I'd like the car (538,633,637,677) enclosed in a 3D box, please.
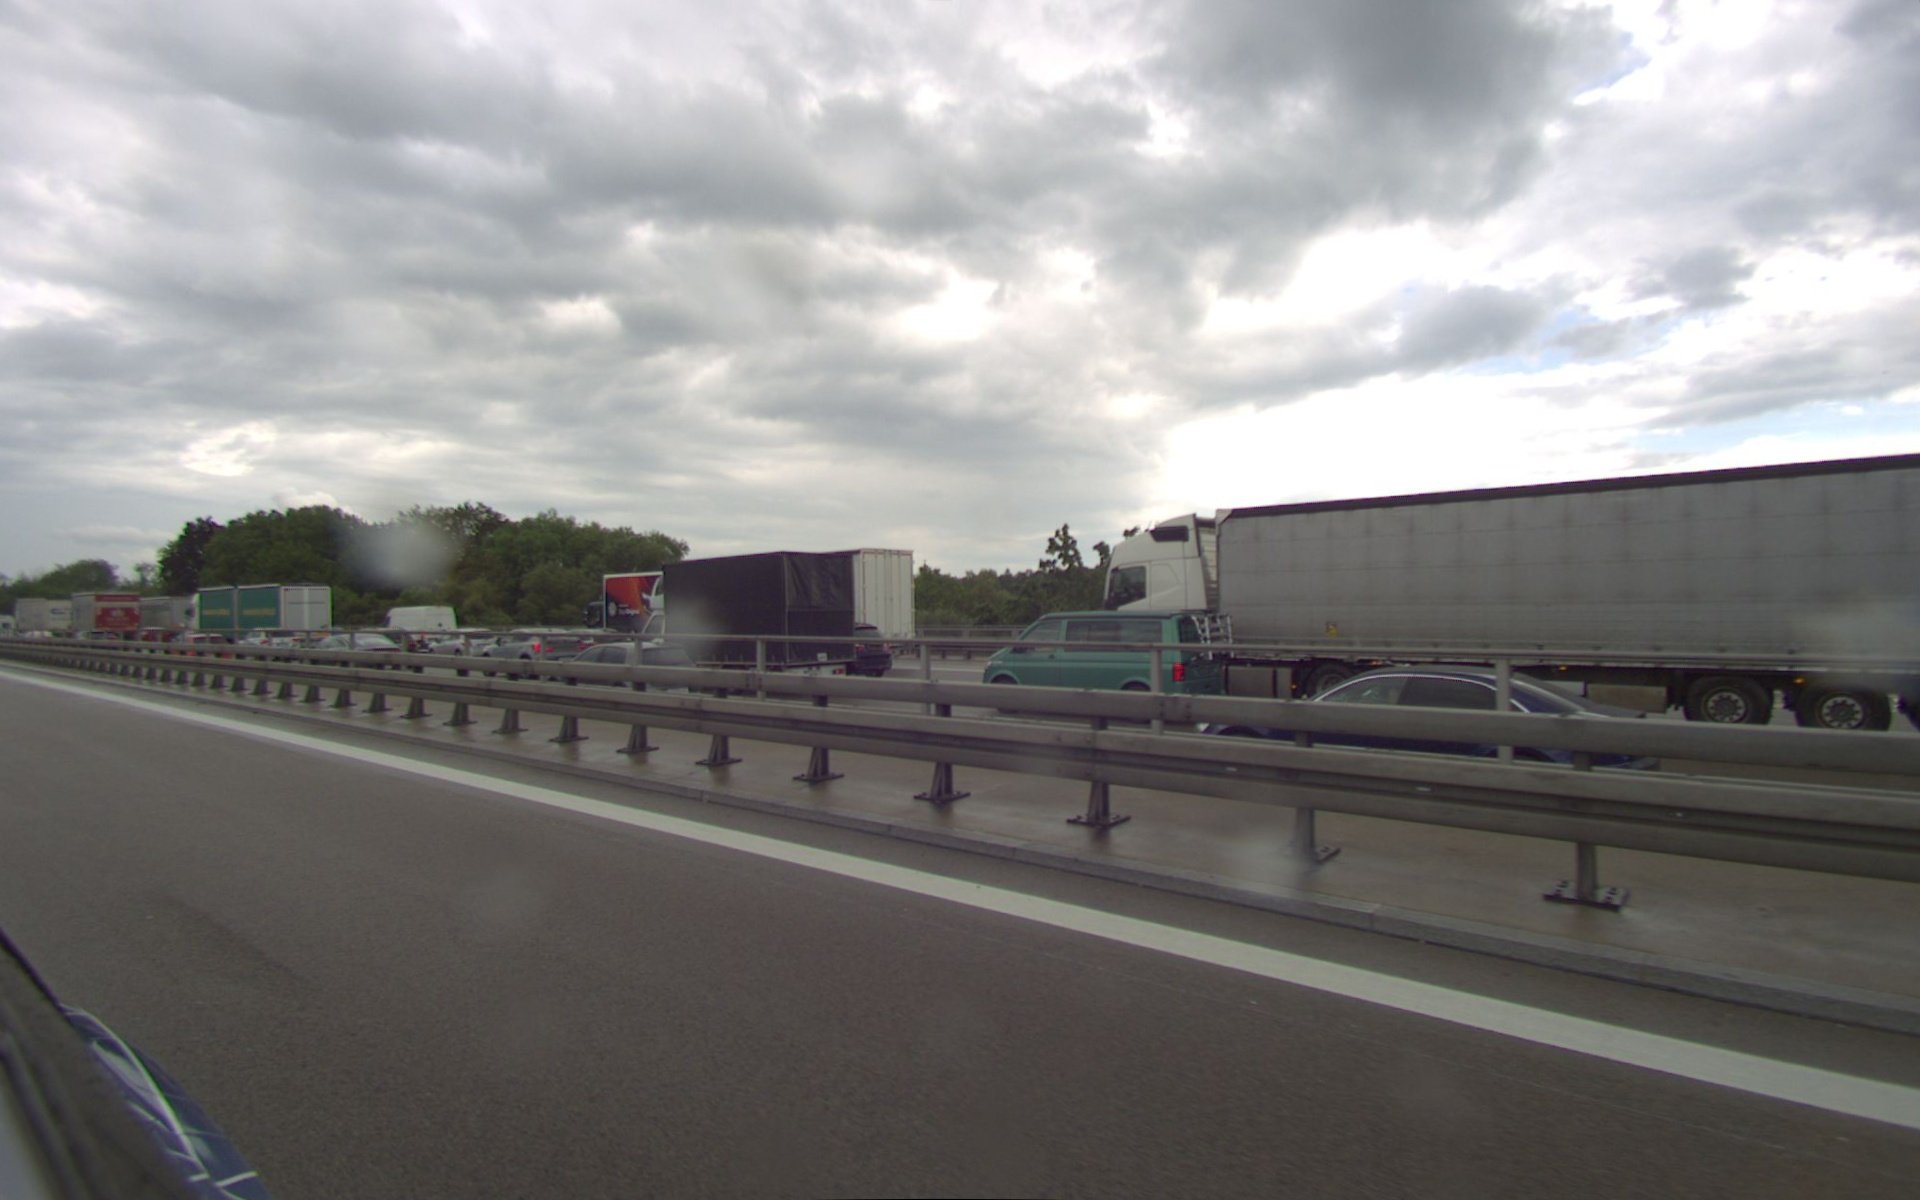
[{"bbox_3d":[-13.925,2.003,37.754,4.083,1.547,1.702,-2,-2,41],"label":"car"}]

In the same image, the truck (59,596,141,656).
[{"bbox_3d":[-64.429,1.994,75.664,12.517,4.180,2.952,-2,-2,42],"label":"truck"}]

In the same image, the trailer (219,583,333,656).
[{"bbox_3d":[-41.793,1.224,61.606,11.595,4.092,2.789,-2,-1,41],"label":"trailer"}]

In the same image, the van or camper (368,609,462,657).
[{"bbox_3d":[-31.208,1.853,57.835,7.357,2.598,2.221,-2,-2,40],"label":"van or camper"}]

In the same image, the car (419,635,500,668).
[{"bbox_3d":[-21.589,2.181,43.579,4.216,1.364,1.651,-2,-2,41],"label":"car"}]

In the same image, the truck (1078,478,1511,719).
[{"bbox_3d":[6.428,0.038,20.302,7.569,3.963,3.166,-2,-1,41],"label":"truck"}]

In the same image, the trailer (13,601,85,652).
[{"bbox_3d":[-80.572,2.357,89.344,13.016,4.177,2.852,-2,-2,40],"label":"trailer"}]

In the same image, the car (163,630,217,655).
[{"bbox_3d":[-46.201,2.540,60.683,3.998,1.463,1.813,-2,-2,41],"label":"car"}]

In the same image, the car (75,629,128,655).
[{"bbox_3d":[-50.749,2.454,59.819,3.998,1.463,1.813,-1,-2,41],"label":"car"}]

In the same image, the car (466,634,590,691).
[{"bbox_3d":[-14.225,1.984,33.190,5.052,1.713,1.702,-2,-2,41],"label":"car"}]

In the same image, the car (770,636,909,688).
[{"bbox_3d":[-3.513,1.740,29.171,4.083,1.364,1.702,-2,-2,41],"label":"car"}]

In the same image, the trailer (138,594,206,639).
[{"bbox_3d":[-73.713,1.622,94.514,12.300,4.024,2.729,-2,-2,41],"label":"trailer"}]

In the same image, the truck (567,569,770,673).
[{"bbox_3d":[-12.610,0.893,42.953,10.276,3.939,3.192,-2,-1,41],"label":"truck"}]

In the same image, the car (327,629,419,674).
[{"bbox_3d":[-23.833,2.046,41.011,5.101,1.741,1.702,-2,-2,41],"label":"car"}]

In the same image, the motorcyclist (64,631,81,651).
[{"bbox_3d":[-61.577,2.856,70.225,1.029,1.351,0.721,-2,-2,41],"label":"motorcyclist"}]

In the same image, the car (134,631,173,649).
[{"bbox_3d":[-63.738,3.168,79.999,4.191,1.354,1.582,-2,-2,40],"label":"car"}]

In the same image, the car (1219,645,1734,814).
[{"bbox_3d":[5.196,1.174,10.617,4.532,1.364,1.702,-2,-2,41],"label":"car"}]

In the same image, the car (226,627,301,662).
[{"bbox_3d":[-34.688,2.194,50.348,4.774,1.637,1.747,-1,-1,38],"label":"car"}]

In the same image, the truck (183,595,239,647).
[{"bbox_3d":[-61.733,1.733,83.429,5.105,4.100,2.675,-2,-2,41],"label":"truck"}]

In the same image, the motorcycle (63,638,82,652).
[{"bbox_3d":[-61.523,3.134,70.135,1.788,0.973,0.726,-2,-2,41],"label":"motorcycle"}]

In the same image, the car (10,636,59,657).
[{"bbox_3d":[-65.422,3.250,71.499,5.007,1.429,1.903,-2,-2,40],"label":"car"}]

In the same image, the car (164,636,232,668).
[{"bbox_3d":[-34.346,2.300,45.598,4.382,1.364,1.556,-2,-2,41],"label":"car"}]

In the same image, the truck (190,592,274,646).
[{"bbox_3d":[-57.585,1.584,79.895,11.686,4.012,2.692,-2,-2,41],"label":"truck"}]

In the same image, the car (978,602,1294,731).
[{"bbox_3d":[3.078,1.148,18.778,5.672,2.068,1.802,-2,-2,41],"label":"car"}]

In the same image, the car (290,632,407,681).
[{"bbox_3d":[-20.309,1.817,33.492,5.499,1.514,1.702,-2,-2,41],"label":"car"}]

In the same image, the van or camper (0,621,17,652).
[{"bbox_3d":[-81.267,3.044,84.841,7.296,2.515,2.255,-2,-2,40],"label":"van or camper"}]

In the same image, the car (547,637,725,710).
[{"bbox_3d":[-6.779,1.455,20.994,3.998,1.364,1.702,-2,-2,41],"label":"car"}]

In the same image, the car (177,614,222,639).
[{"bbox_3d":[-57.832,1.979,76.935,3.999,1.844,1.972,-1,-1,42],"label":"car"}]

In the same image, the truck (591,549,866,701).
[{"bbox_3d":[-6.323,0.689,26.513,8.535,3.425,2.493,-2,-2,41],"label":"truck"}]

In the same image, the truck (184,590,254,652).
[{"bbox_3d":[-50.602,1.433,69.076,4.960,4.060,2.816,-2,-1,41],"label":"truck"}]

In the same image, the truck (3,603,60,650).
[{"bbox_3d":[-86.637,2.516,94.400,7.550,4.212,2.852,-2,-2,40],"label":"truck"}]

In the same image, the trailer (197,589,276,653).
[{"bbox_3d":[-47.648,1.369,66.612,6.310,4.060,2.806,-2,-1,41],"label":"trailer"}]

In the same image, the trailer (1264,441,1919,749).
[{"bbox_3d":[11.632,-0.020,15.779,13.008,3.963,3.210,-2,-1,41],"label":"trailer"}]

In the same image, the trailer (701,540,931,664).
[{"bbox_3d":[-5.415,0.158,36.668,8.845,3.989,3.186,-2,-1,41],"label":"trailer"}]
